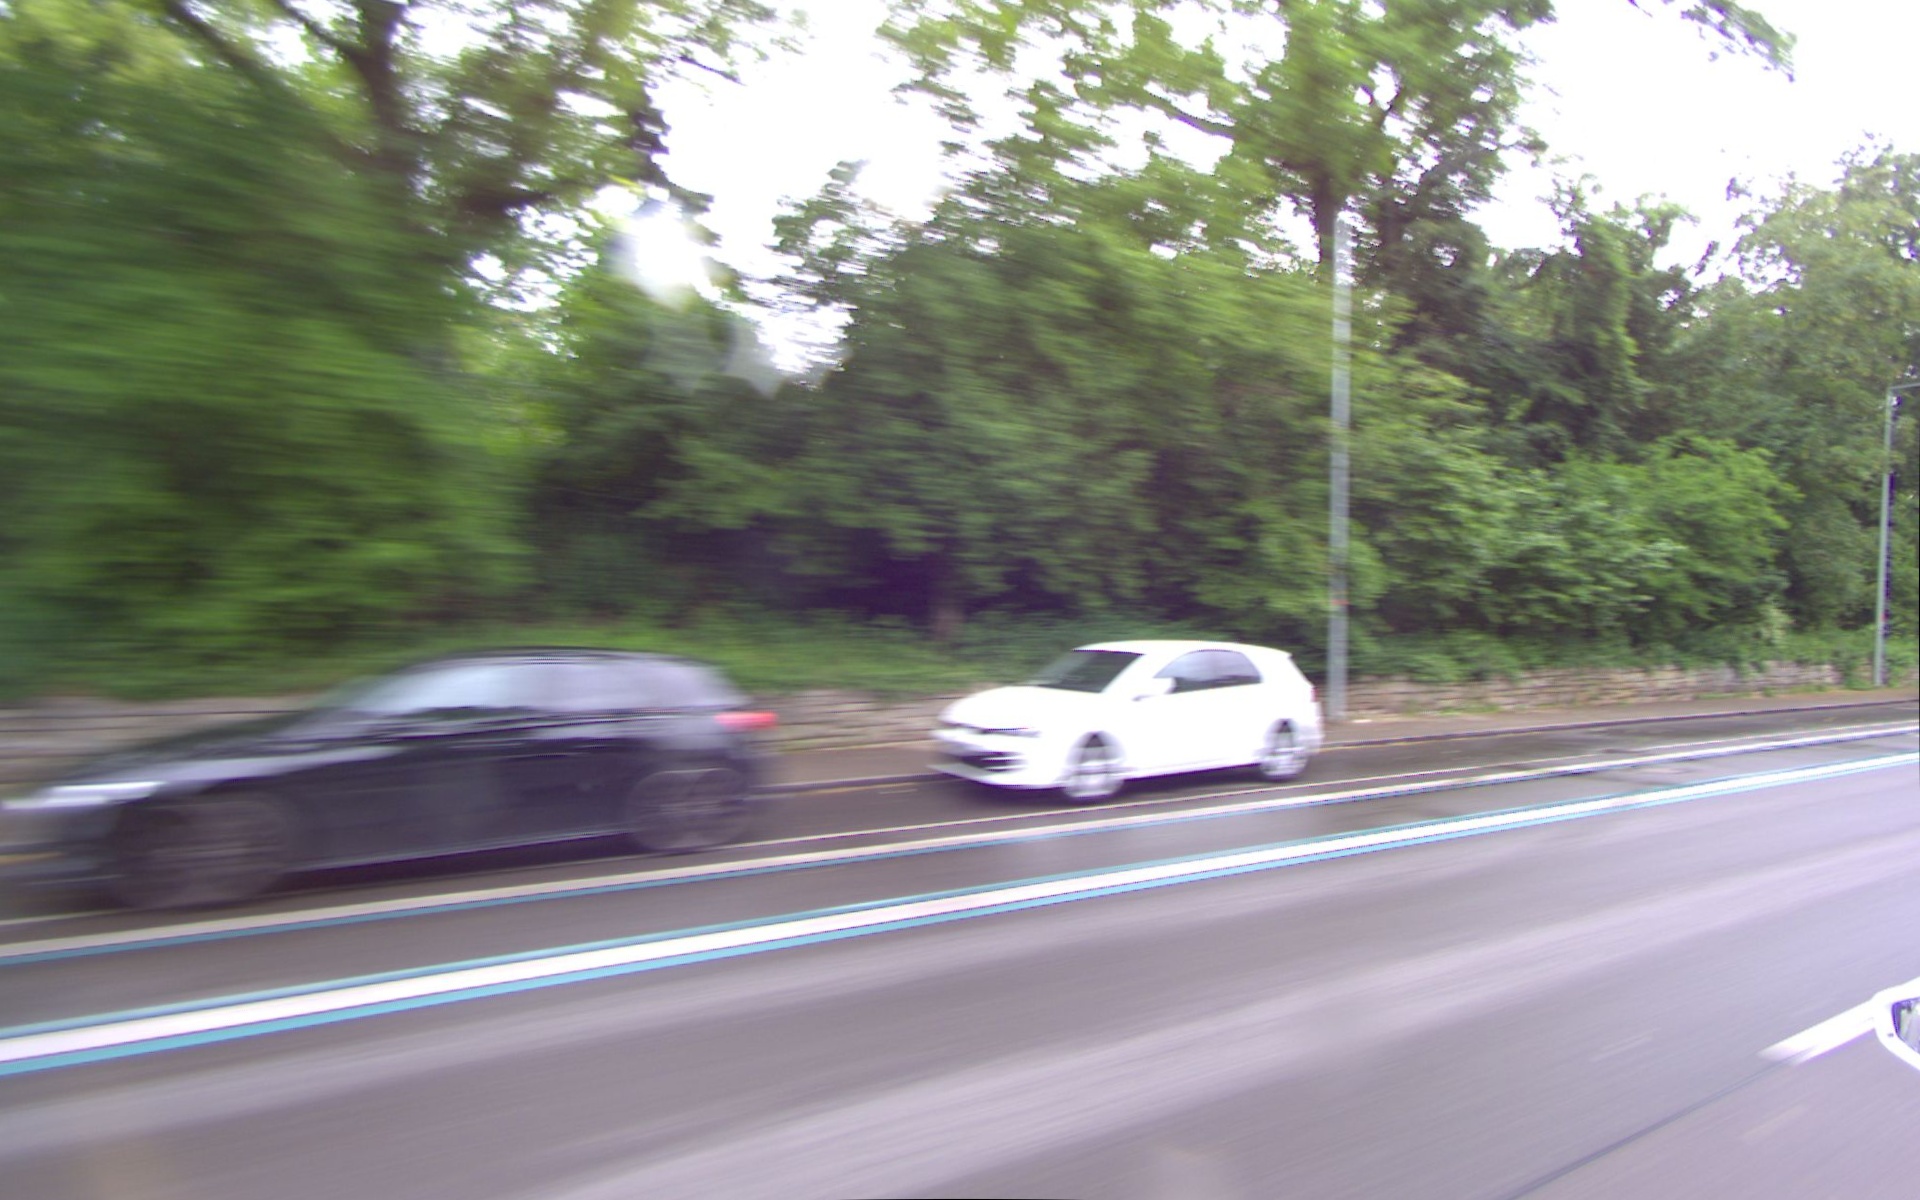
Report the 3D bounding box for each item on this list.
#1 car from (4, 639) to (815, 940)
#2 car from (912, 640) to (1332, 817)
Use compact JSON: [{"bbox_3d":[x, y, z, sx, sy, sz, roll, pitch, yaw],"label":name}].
[{"bbox_3d":[-3.391,1.014,6.965,4.399,1.417,1.810,1,-1,-34],"label":"car"},{"bbox_3d":[1.785,1.178,10.531,4.308,1.454,1.745,1,-1,-32],"label":"car"}]
